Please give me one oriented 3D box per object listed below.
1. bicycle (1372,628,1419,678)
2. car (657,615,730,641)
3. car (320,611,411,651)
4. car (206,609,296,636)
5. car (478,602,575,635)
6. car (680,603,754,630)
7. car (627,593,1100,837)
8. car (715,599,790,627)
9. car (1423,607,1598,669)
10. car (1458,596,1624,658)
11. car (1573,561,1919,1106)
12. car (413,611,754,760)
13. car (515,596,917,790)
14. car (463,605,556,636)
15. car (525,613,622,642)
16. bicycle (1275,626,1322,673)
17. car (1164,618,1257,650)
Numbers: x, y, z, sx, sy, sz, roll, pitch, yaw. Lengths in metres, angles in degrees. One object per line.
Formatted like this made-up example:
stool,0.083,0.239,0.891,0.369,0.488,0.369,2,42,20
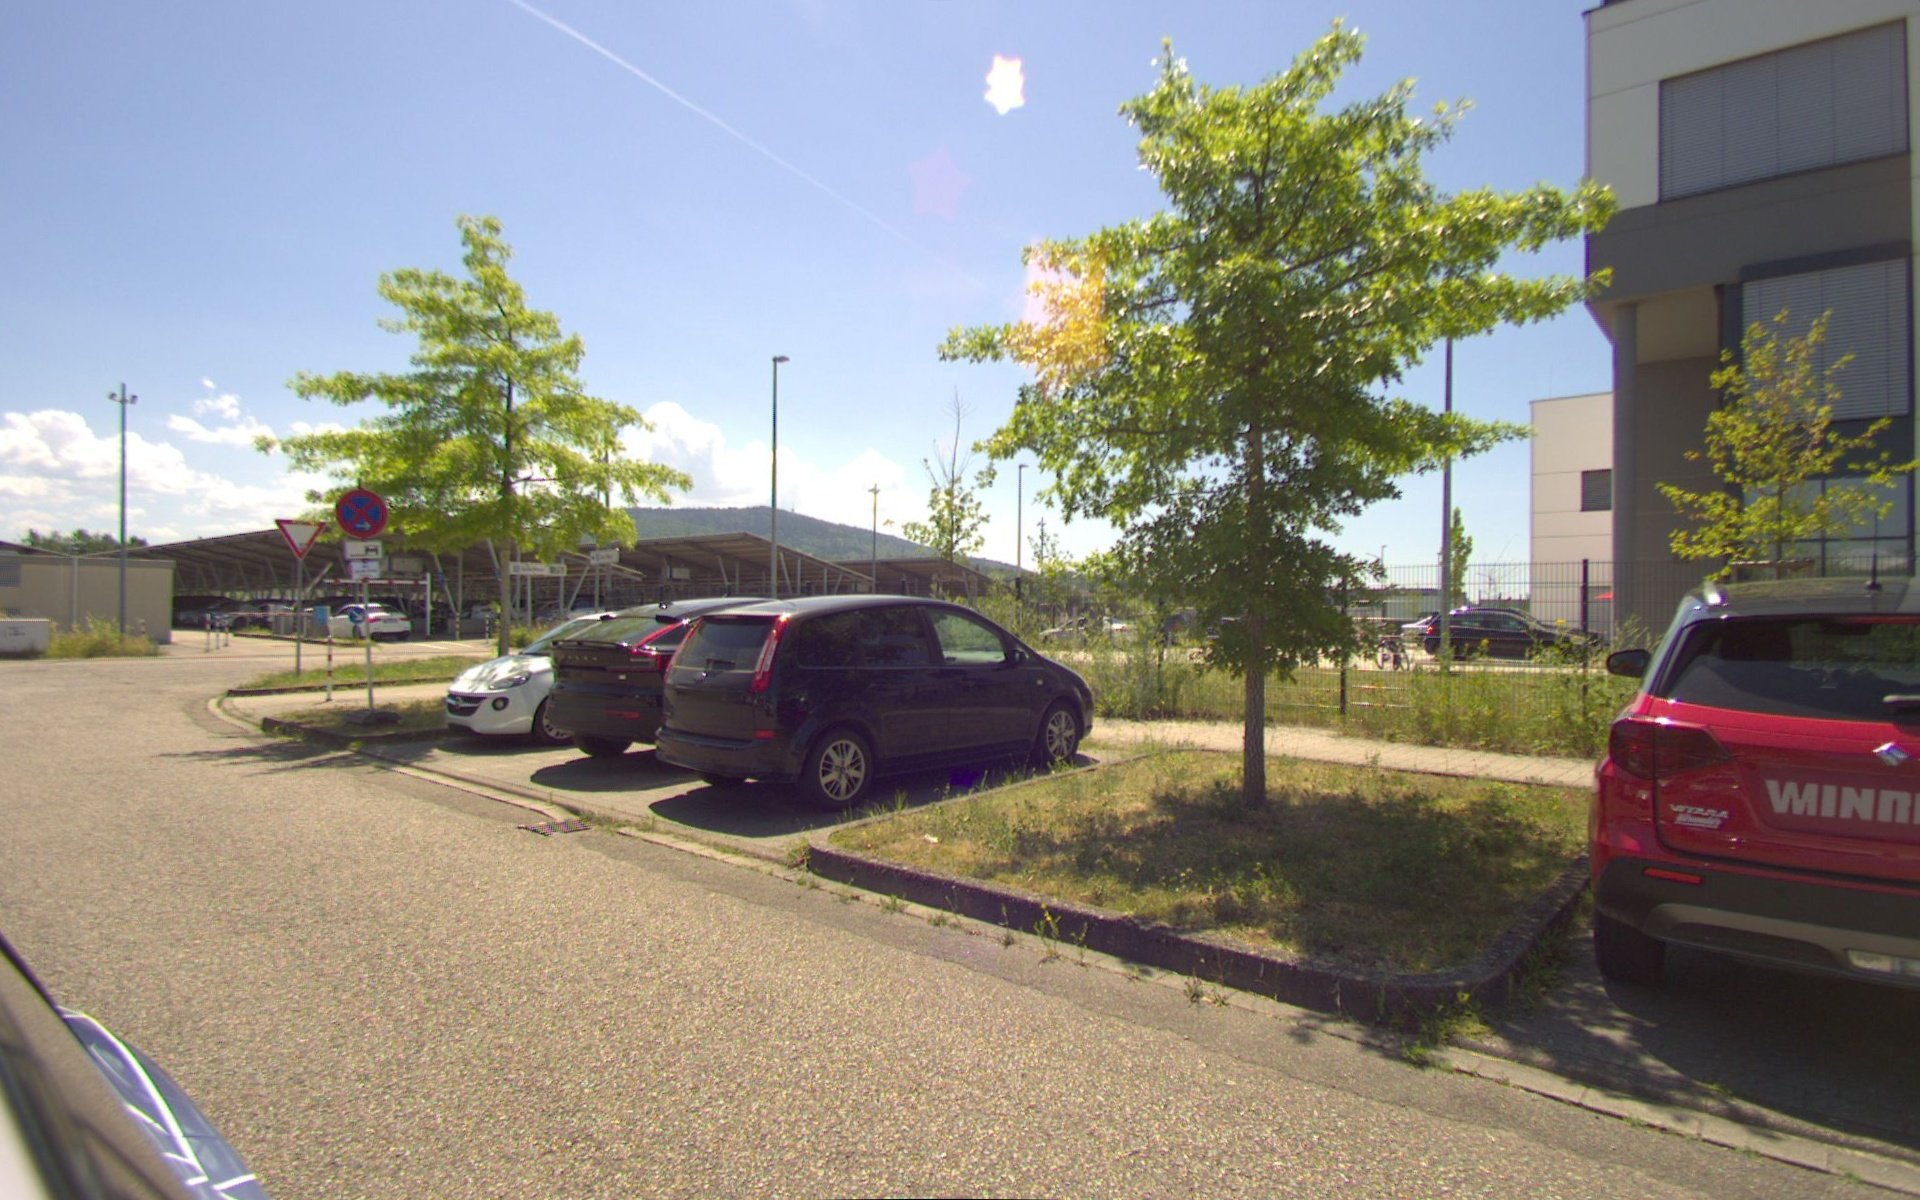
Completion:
bicycle,8.949,1.068,20.765,0.461,0.989,1.576,-1,-2,39
car,-14.911,1.559,56.783,1.721,1.447,3.728,-1,-2,37
car,-22.699,1.152,38.607,3.770,1.447,1.702,-1,-2,37
car,-39.234,1.227,56.034,1.721,1.447,3.728,-1,-2,37
car,-19.738,0.850,46.213,1.721,1.447,3.728,-1,-2,37
car,-13.231,0.921,55.276,1.721,1.447,3.728,-1,-2,37
car,-0.658,0.768,8.770,1.728,1.604,3.862,-1,0,45
car,-11.018,0.727,53.983,1.721,1.447,3.728,-1,-2,37
car,15.155,1.014,27.969,3.997,1.614,1.758,-1,-2,40
car,17.057,0.787,29.817,3.997,1.697,1.758,-1,-2,40
car,4.001,0.664,4.460,1.725,1.604,3.801,-1,0,39
car,-4.420,0.902,12.227,1.726,1.452,3.468,-1,0,40
car,-2.377,0.792,10.621,1.827,1.605,3.802,-1,0,38
car,-21.617,0.993,48.637,1.721,1.447,3.728,-1,-2,37
car,-17.412,1.224,45.695,1.721,1.237,3.728,-1,-2,37
bicycle,7.440,1.064,22.210,0.461,0.989,1.576,-1,-2,39
car,12.844,1.721,52.086,4.401,1.526,1.676,-1,-1,41
